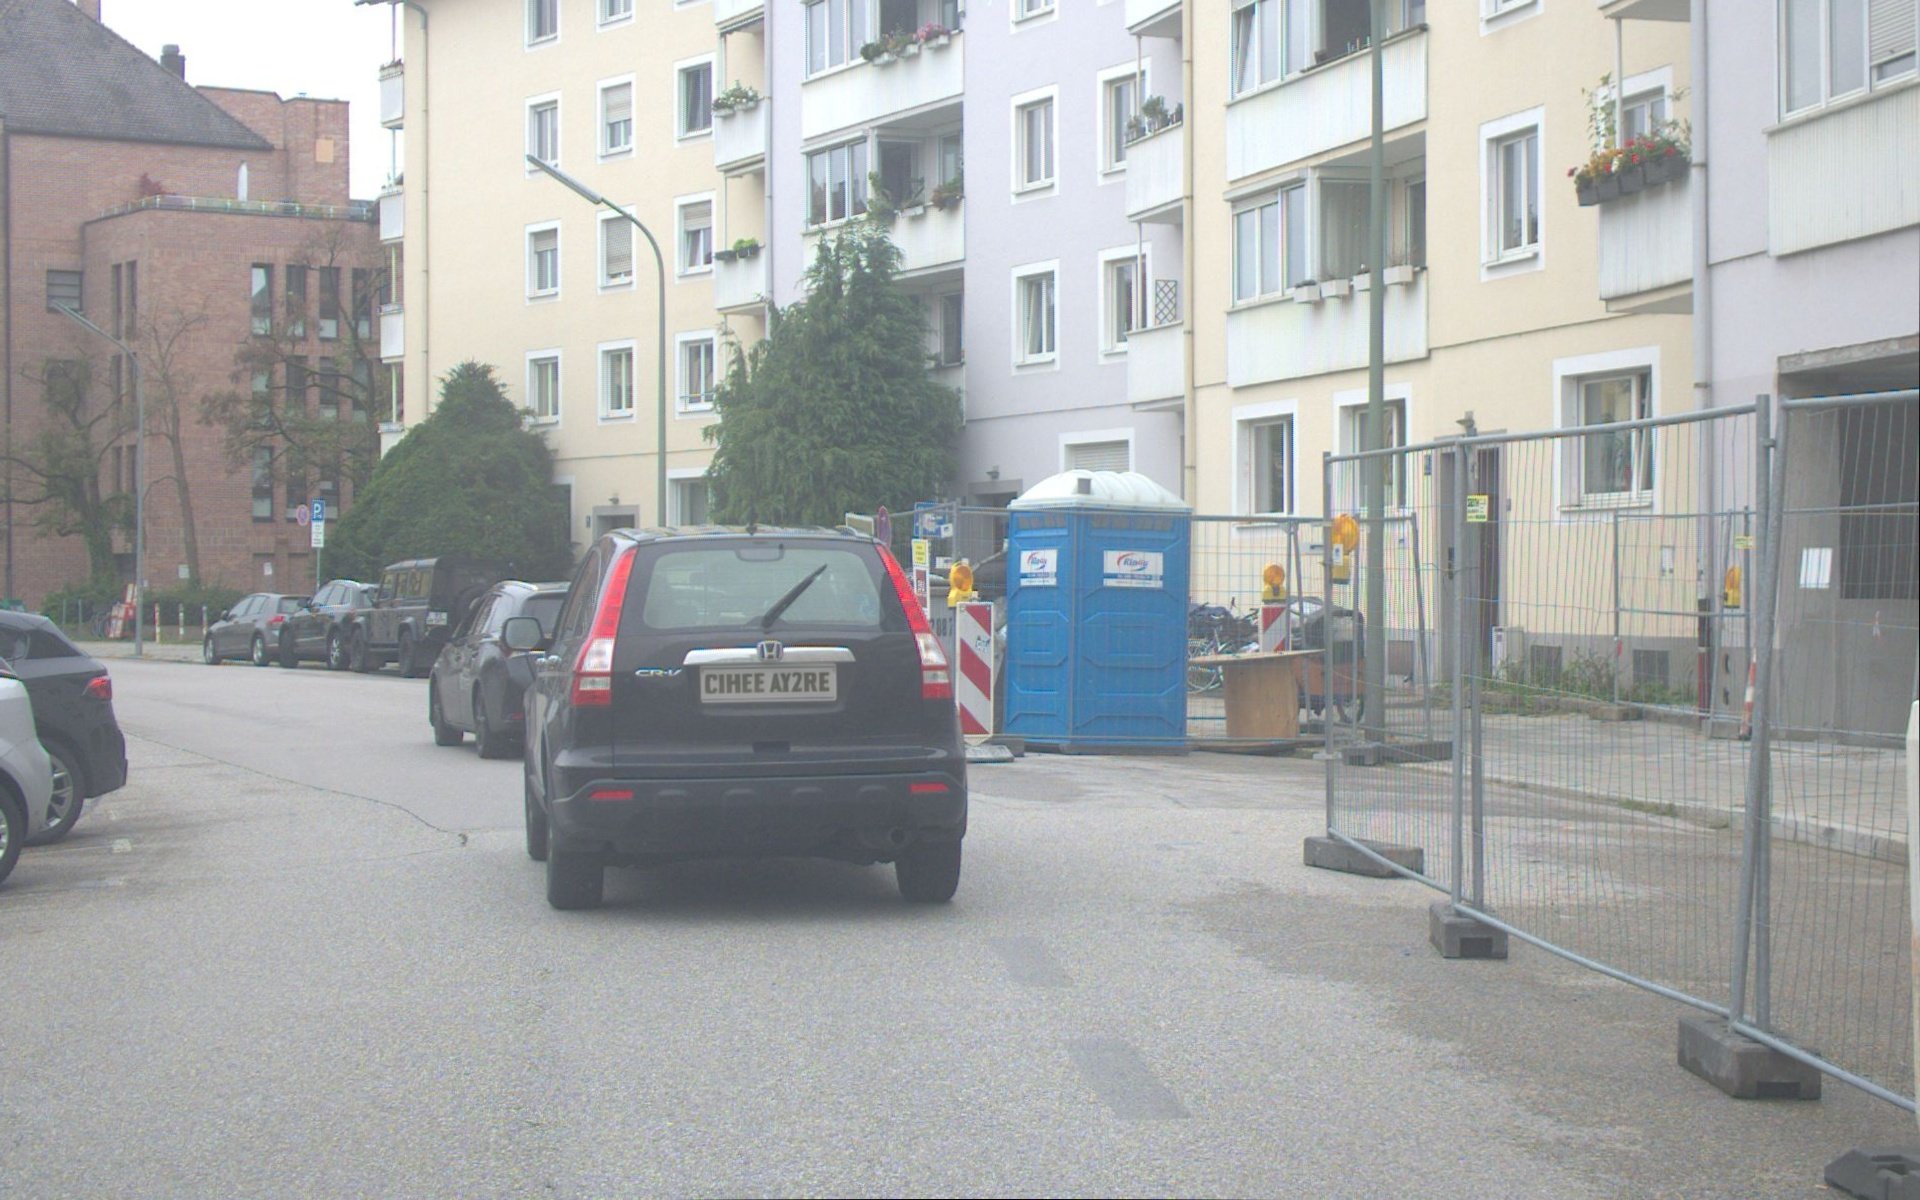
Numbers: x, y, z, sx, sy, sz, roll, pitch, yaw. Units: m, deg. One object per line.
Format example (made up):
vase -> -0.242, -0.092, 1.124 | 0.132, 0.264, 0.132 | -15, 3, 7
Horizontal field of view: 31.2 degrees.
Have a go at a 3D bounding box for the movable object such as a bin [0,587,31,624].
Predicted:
movable object such as a bin -> -28.297, 0.159, 102.257 | 0.966, 1.082, 1.985 | 0, 1, -25

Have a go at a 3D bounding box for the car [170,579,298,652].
car -> -14.749, 0.298, 69.737 | 1.697, 1.384, 3.603 | 0, 1, -26

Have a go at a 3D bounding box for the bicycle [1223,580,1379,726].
bicycle -> 3.383, 0.505, 34.405 | 0.968, 1.384, 2.564 | 0, 1, -8

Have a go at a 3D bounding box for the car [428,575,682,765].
car -> -3.507, 0.535, 29.183 | 1.678, 1.476, 4.088 | 0, 1, -13

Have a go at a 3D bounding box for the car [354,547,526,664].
car -> -8.795, 0.064, 57.900 | 1.724, 1.871, 4.001 | 0, 1, -26

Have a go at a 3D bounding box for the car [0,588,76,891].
car -> -6.529, 0.814, 16.423 | 4.075, 1.476, 1.683 | -4, -1, -43

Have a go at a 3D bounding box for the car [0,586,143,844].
car -> -6.943, 0.665, 19.734 | 4.075, 1.476, 1.684 | 0, 1, -41

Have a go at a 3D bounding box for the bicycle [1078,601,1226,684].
bicycle -> 2.569, 0.563, 45.958 | 1.865, 1.087, 0.646 | 0, 0, -14

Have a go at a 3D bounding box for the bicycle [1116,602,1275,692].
bicycle -> 2.894, 0.569, 42.250 | 1.865, 1.087, 0.566 | 0, 0, -14

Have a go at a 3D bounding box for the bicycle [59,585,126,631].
bicycle -> -24.446, 0.236, 96.889 | 1.753, 1.284, 0.553 | 0, 0, -23

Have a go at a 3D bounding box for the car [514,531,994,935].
car -> -1.091, 0.521, 16.061 | 1.890, 1.642, 3.992 | 0, 1, -8

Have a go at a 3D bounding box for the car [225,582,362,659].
car -> -12.797, 0.375, 65.892 | 1.697, 1.384, 3.603 | 0, 1, -26

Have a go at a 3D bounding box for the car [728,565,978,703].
car -> -1.302, 0.365, 39.914 | 1.724, 1.478, 4.001 | 0, 1, -20

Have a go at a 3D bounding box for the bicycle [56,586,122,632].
bicycle -> -24.699, 0.255, 97.507 | 1.753, 1.284, 0.553 | 0, 0, -23

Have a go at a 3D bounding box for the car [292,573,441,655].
car -> -10.719, 0.237, 61.962 | 1.697, 1.384, 3.603 | 0, 1, -26

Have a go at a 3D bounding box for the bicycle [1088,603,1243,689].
bicycle -> 2.626, 0.584, 43.904 | 1.865, 1.087, 0.646 | 0, 0, -14

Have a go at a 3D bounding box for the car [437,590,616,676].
car -> -6.819, 0.498, 53.780 | 1.697, 1.232, 3.603 | 0, 1, -26

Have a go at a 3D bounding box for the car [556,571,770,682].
car -> -4.302, 0.349, 49.295 | 1.724, 1.478, 4.001 | 0, 1, -26
